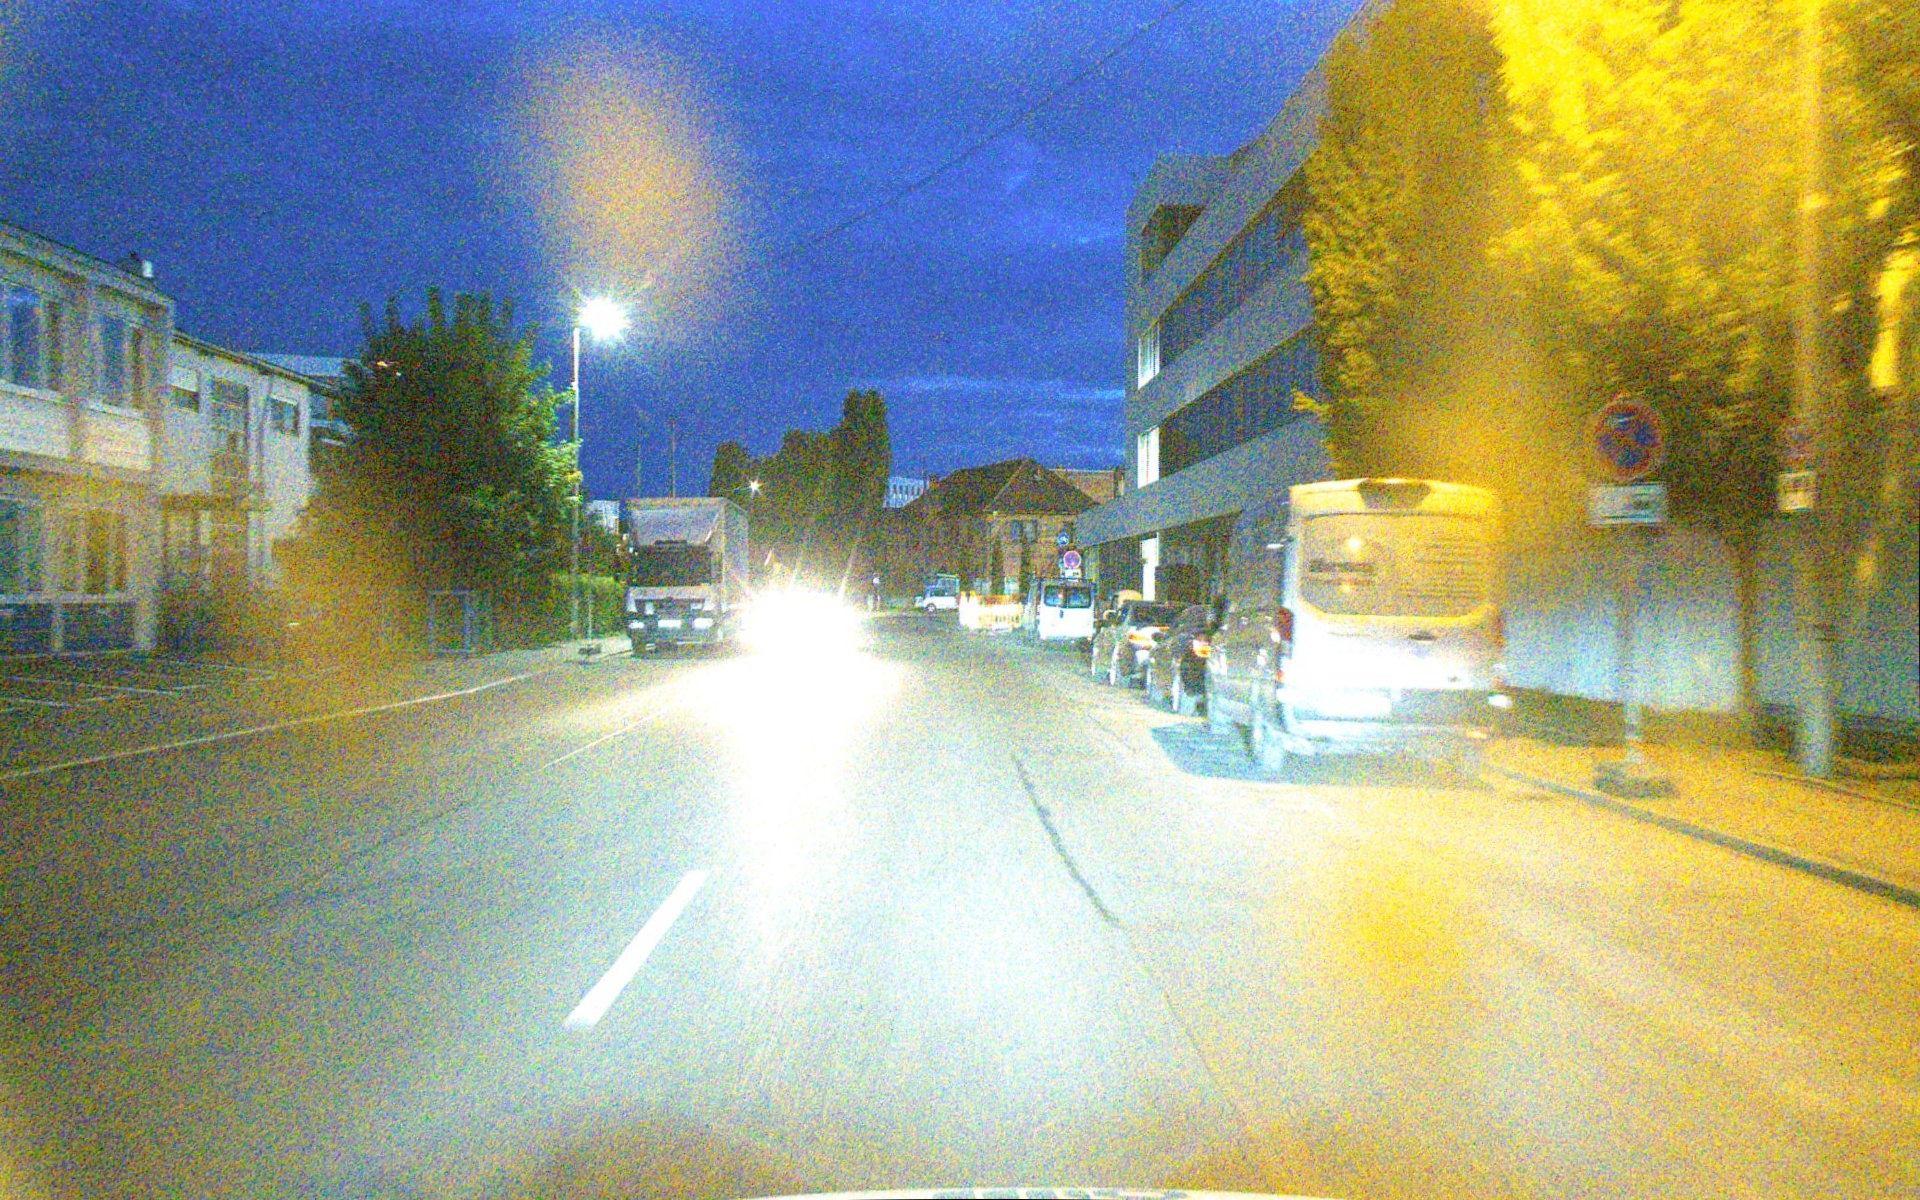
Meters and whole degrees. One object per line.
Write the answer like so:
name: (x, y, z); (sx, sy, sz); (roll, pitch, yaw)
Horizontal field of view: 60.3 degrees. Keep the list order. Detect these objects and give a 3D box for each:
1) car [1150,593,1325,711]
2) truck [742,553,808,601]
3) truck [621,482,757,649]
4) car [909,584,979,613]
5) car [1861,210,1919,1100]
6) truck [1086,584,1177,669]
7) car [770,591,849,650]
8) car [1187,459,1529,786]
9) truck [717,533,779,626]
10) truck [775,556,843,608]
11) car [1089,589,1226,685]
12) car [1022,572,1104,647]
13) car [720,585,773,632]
car: (3.730, 0.643, 22.918); (1.733, 1.437, 4.551); (0, 1, 1)
truck: (-15.356, -1.870, 136.770); (2.717, 3.849, 10.155); (0, 0, -22)
truck: (-7.294, -0.884, 45.686); (2.692, 4.104, 9.554); (0, 0, -3)
car: (-1.071, -0.121, 110.723); (4.269, 1.675, 1.878); (-3, 2, -24)
car: (4.066, 0.223, 2.200); (2.086, 2.616, 5.904); (3, 0, -4)
truck: (3.502, 0.512, 34.337); (1.343, 1.673, 3.810); (0, 0, -3)
car: (-3.816, 0.485, 42.425); (1.820, 1.445, 3.998); (0, 0, -2)
car: (3.648, 0.157, 16.425); (1.952, 2.569, 5.910); (3, 0, 1)
truck: (-10.207, -0.946, 78.871); (2.721, 4.192, 9.323); (0, 0, -8)
truck: (-11.696, -1.346, 127.359); (2.717, 3.849, 9.076); (0, 0, -22)
car: (3.385, 0.581, 29.209); (1.906, 1.515, 5.011); (0, 1, 1)
car: (2.937, 0.243, 48.271); (1.953, 2.049, 4.910); (-1, 0, -2)
car: (-8.244, 0.295, 64.213); (1.906, 1.747, 5.192); (0, 0, -6)
